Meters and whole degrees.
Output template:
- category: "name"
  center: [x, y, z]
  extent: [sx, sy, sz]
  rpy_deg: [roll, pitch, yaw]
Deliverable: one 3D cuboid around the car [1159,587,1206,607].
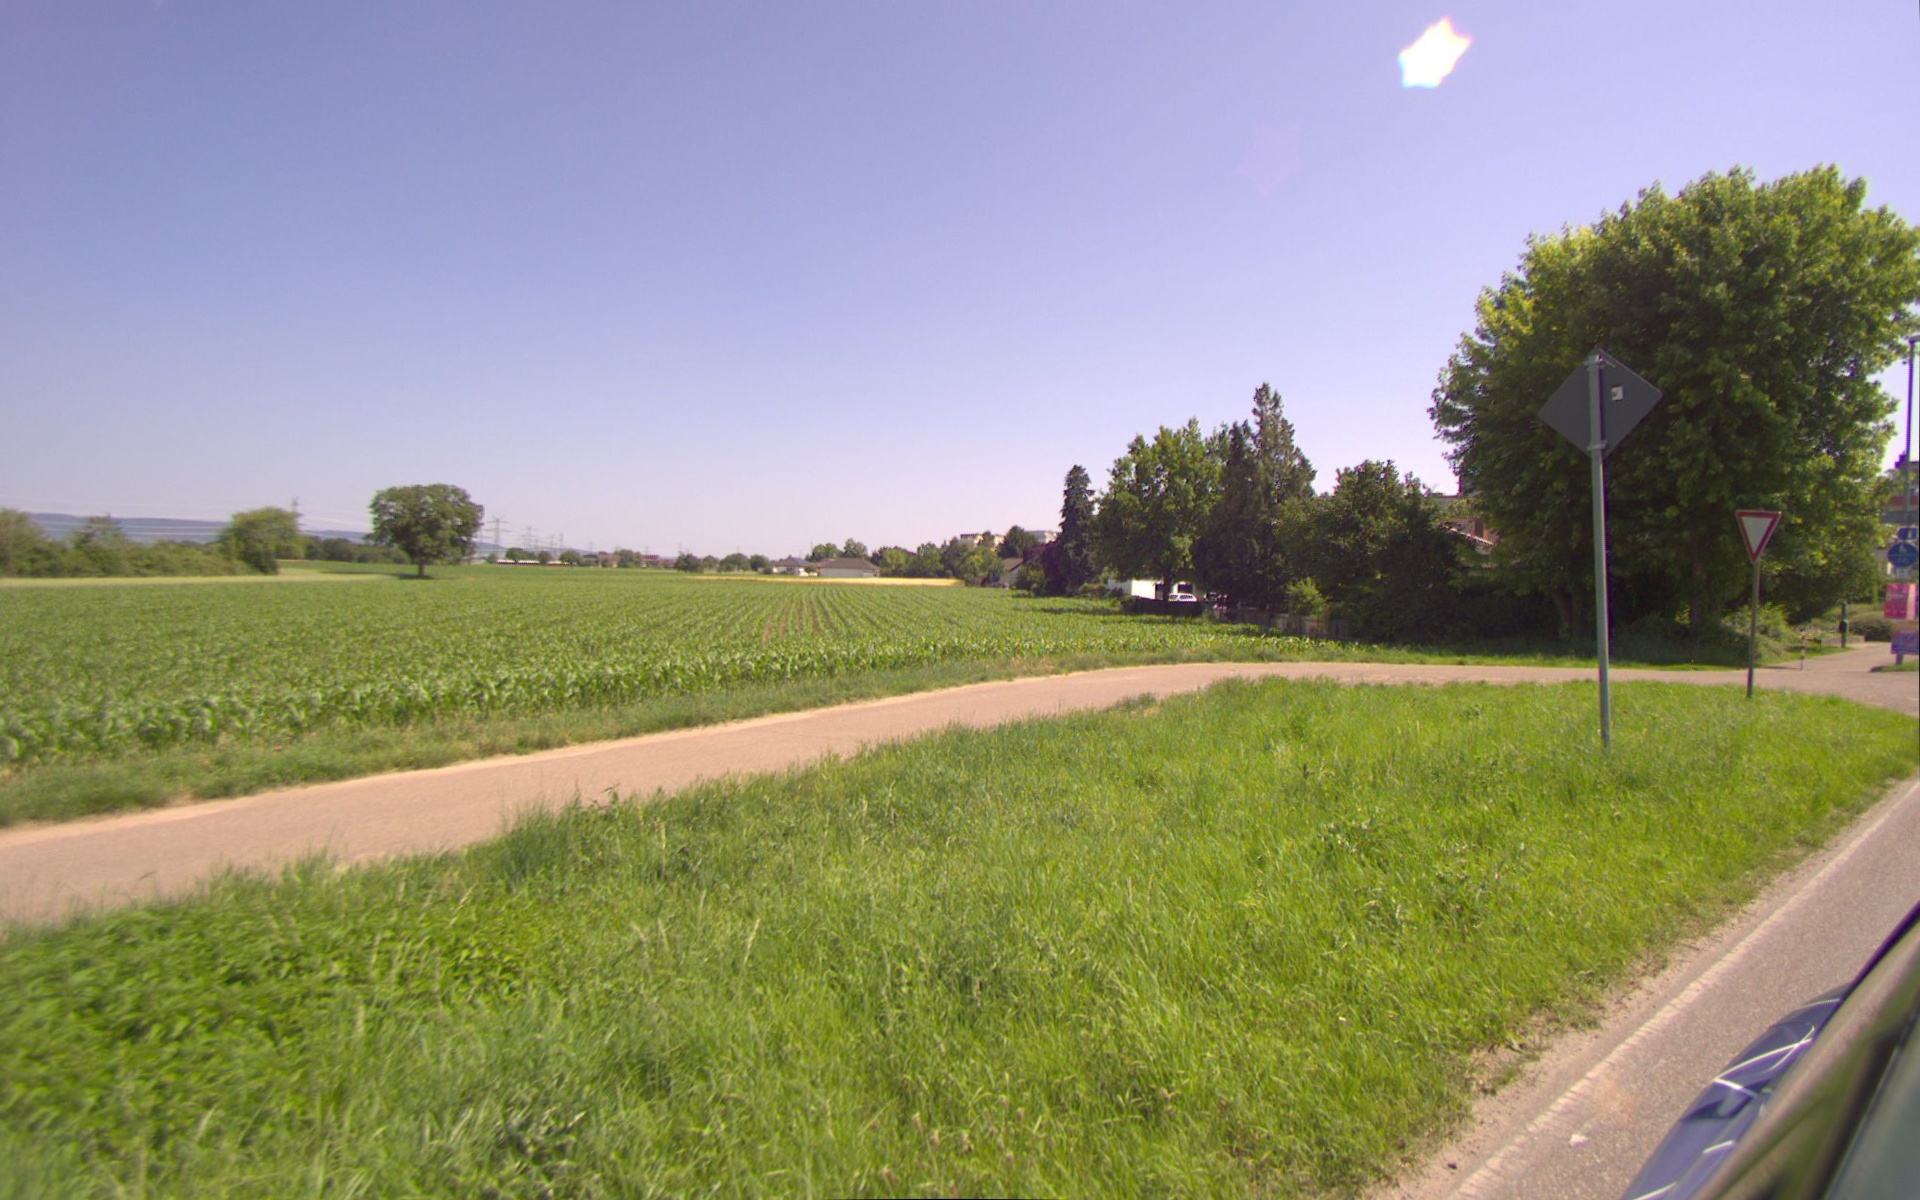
- category: "car"
  center: [18.869, -0.237, 85.730]
  extent: [3.930, 1.638, 1.997]
  rpy_deg: [0, 1, -41]
